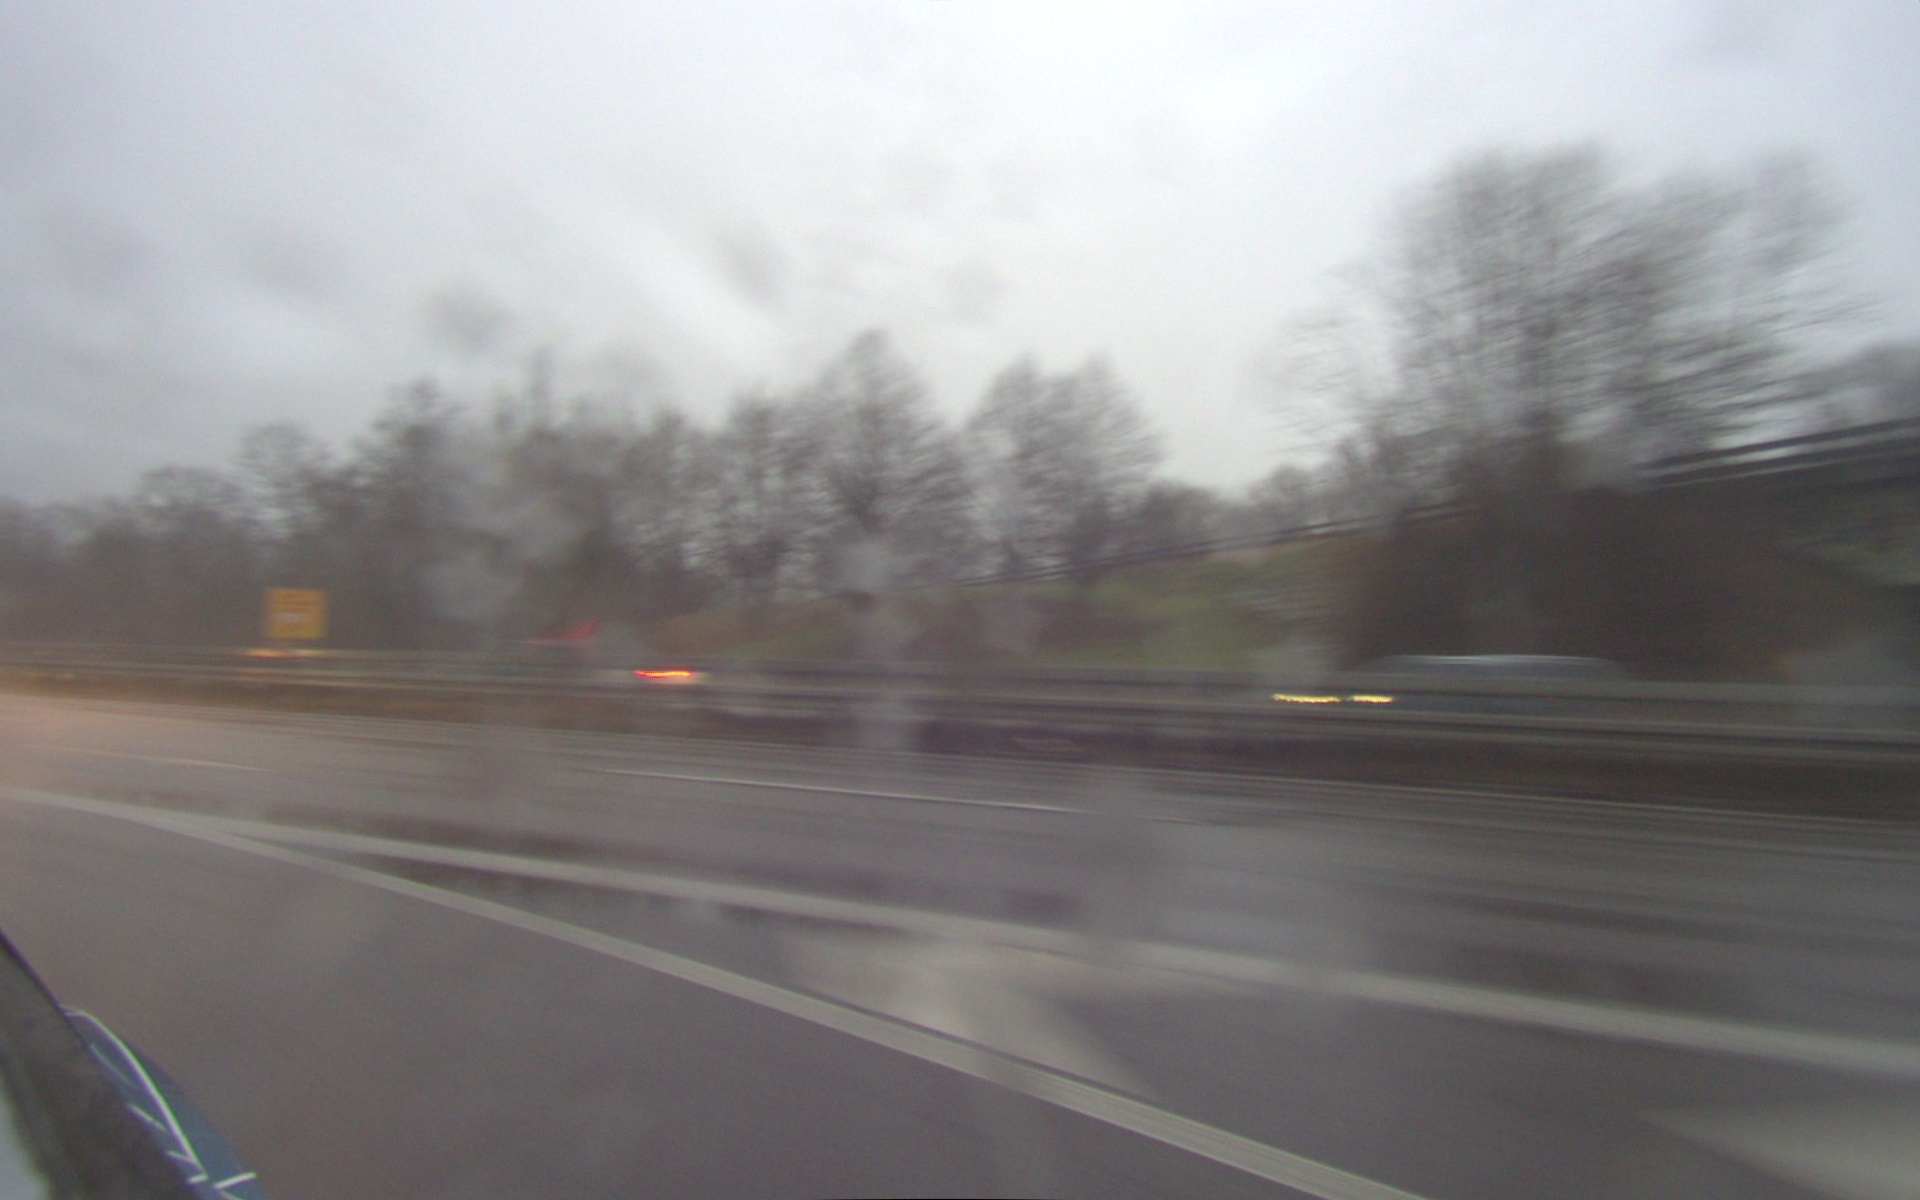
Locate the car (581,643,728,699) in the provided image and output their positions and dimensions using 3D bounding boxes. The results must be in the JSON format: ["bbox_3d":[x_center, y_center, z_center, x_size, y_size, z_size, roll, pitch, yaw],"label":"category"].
[{"bbox_3d":[-9.499,2.159,31.409,4.376,1.581,1.744,-1,-2,27],"label":"car"}]

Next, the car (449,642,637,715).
[{"bbox_3d":[-10.227,1.846,24.767,4.657,1.581,1.742,-1,-2,29],"label":"car"}]

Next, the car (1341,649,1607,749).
[{"bbox_3d":[9.302,1.733,18.641,4.169,1.581,1.745,0,-2,25],"label":"car"}]
